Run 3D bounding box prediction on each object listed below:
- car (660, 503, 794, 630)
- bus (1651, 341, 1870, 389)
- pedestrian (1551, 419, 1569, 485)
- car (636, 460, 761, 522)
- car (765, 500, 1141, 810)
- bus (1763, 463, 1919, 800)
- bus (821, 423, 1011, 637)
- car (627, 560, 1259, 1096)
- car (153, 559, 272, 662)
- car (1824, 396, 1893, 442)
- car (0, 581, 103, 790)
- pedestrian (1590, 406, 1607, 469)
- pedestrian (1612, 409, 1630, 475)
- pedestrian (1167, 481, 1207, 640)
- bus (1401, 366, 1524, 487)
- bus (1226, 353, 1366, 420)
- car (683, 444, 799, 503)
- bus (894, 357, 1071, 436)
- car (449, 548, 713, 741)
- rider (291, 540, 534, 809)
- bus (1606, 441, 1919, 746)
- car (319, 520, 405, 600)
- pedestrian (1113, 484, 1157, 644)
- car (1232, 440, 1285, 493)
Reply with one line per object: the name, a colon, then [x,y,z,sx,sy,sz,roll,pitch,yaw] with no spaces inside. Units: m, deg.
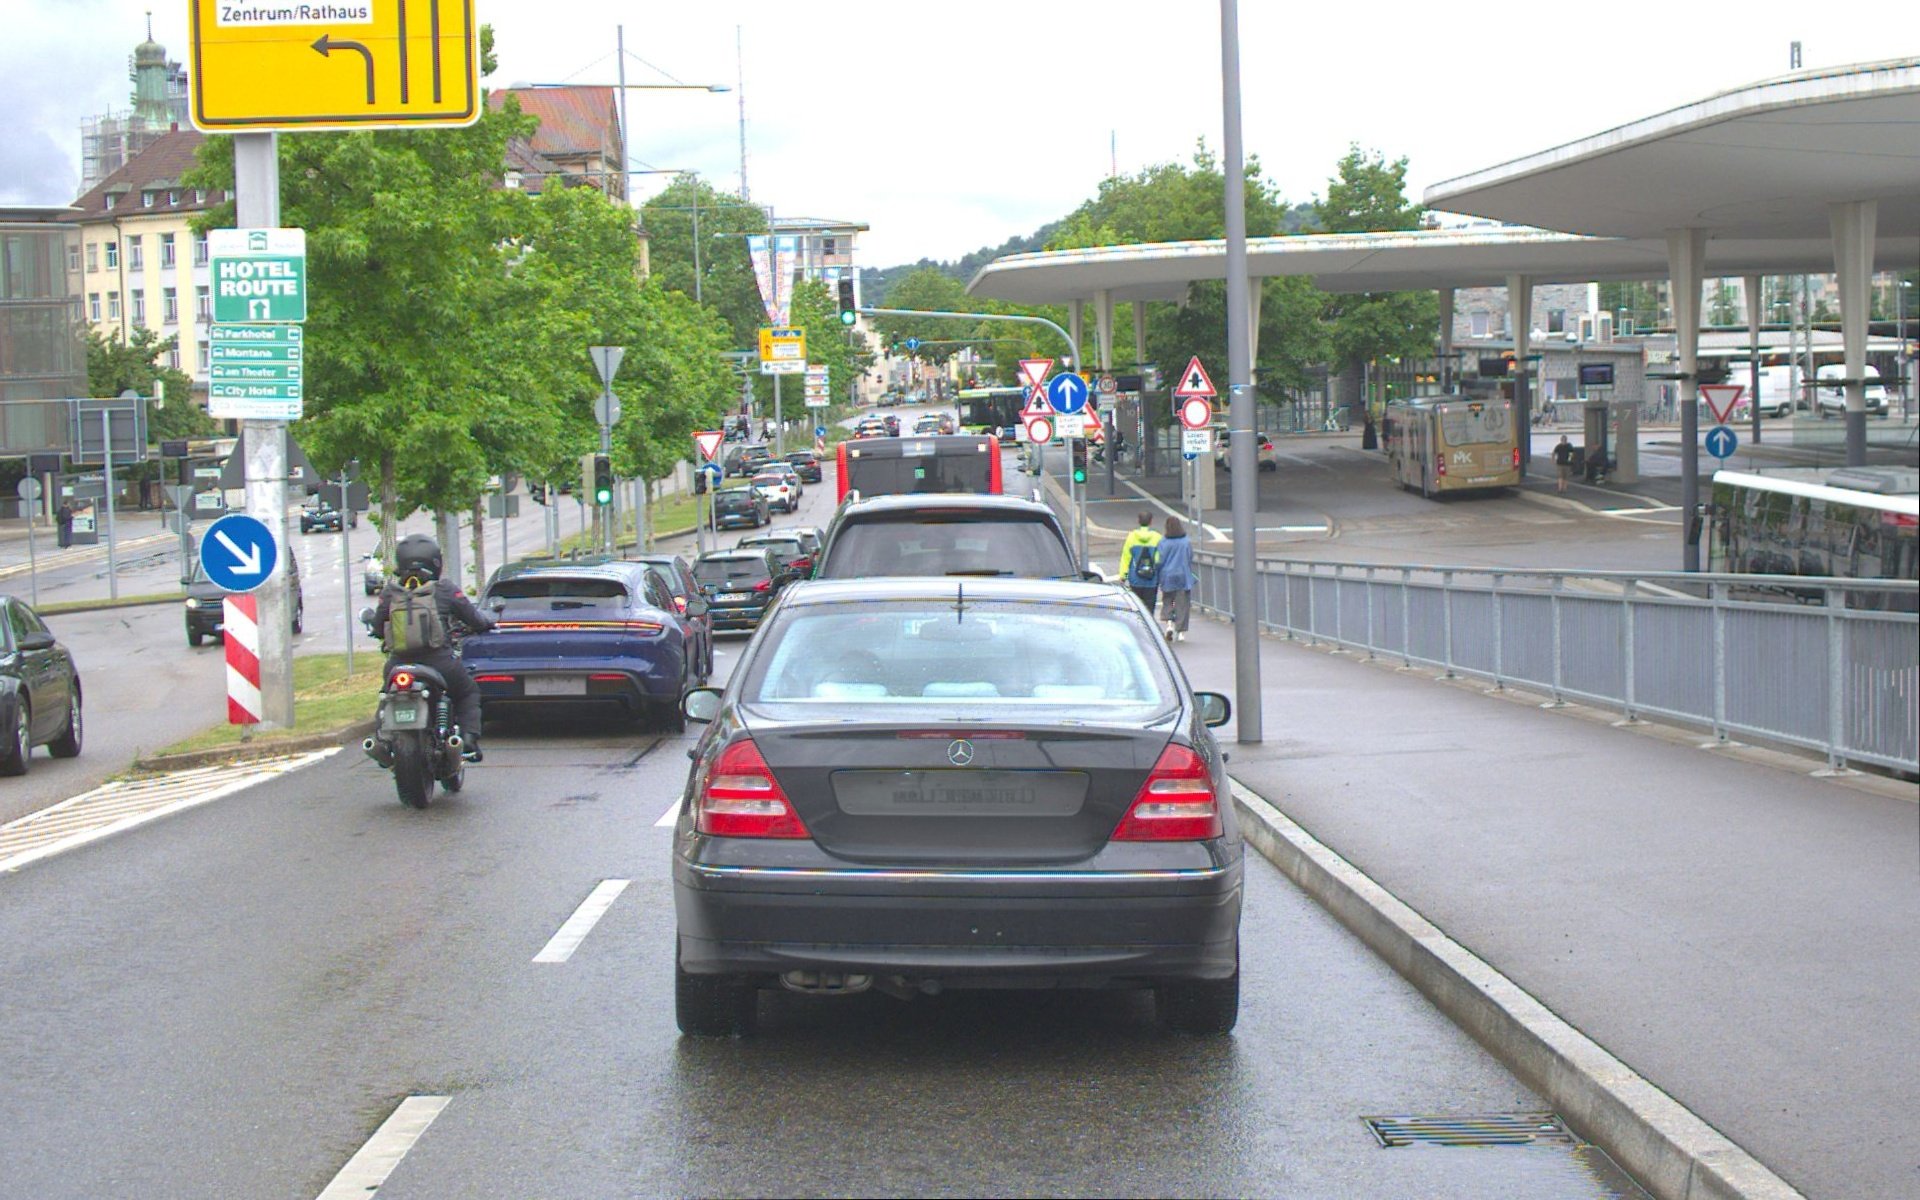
car: [-3.771,-0.583,56.222,1.993,1.999,4.001,0,2,-1]
bus: [39.188,-11.516,168.423,10.167,2.006,2.170,-2,2,-3]
pedestrian: [18.214,-4.489,104.351,0.424,2.006,0.483,-2,2,2]
car: [-8.956,-3.742,118.002,3.987,2.006,2.000,-2,2,4]
car: [0.061,0.240,20.732,1.827,1.681,3.999,0,2,6]
bus: [11.024,0.272,37.014,2.646,3.225,7.074,-2,4,-4]
bus: [-0.718,-1.168,56.374,2.827,3.178,10.310,0,1,-1]
car: [0.007,0.595,11.170,1.706,1.415,3.725,0,1,2]
car: [-15.565,0.203,71.734,1.993,2.007,4.203,-2,0,-7]
car: [40.805,-8.222,156.205,1.993,2.006,4.001,-2,3,-1]
car: [-8.277,0.654,27.960,1.832,1.521,4.595,-2,1,-6]
pedestrian: [20.604,-5.243,110.913,0.424,2.006,0.483,-2,2,2]
pedestrian: [20.653,-4.931,107.455,0.424,2.007,0.483,-2,-1,2]
pedestrian: [2.899,-0.505,43.937,0.424,2.007,0.483,-2,-1,2]
bus: [16.068,-5.484,110.535,3.179,3.588,10.509,-1,2,5]
bus: [18.482,-11.752,189.398,7.197,3.384,3.083,-2,3,-4]
car: [-8.062,-4.659,126.684,3.987,2.006,2.000,-2,2,4]
bus: [1.138,-10.934,183.791,3.257,3.993,10.890,-6,7,-38]
car: [-3.064,0.315,28.490,1.760,1.431,4.000,0,2,0]
rider: [-3.193,0.397,20.285,0.881,1.467,2.196,1,2,6]
bus: [10.520,-0.240,44.125,2.646,3.225,7.074,-2,5,-4]
car: [-15.902,-1.053,91.529,1.993,2.007,4.203,-2,0,-7]
pedestrian: [2.234,-0.455,43.879,0.489,2.007,0.469,-2,-1,2]
car: [11.833,-5.301,136.179,1.994,2.006,4.000,-2,2,5]
